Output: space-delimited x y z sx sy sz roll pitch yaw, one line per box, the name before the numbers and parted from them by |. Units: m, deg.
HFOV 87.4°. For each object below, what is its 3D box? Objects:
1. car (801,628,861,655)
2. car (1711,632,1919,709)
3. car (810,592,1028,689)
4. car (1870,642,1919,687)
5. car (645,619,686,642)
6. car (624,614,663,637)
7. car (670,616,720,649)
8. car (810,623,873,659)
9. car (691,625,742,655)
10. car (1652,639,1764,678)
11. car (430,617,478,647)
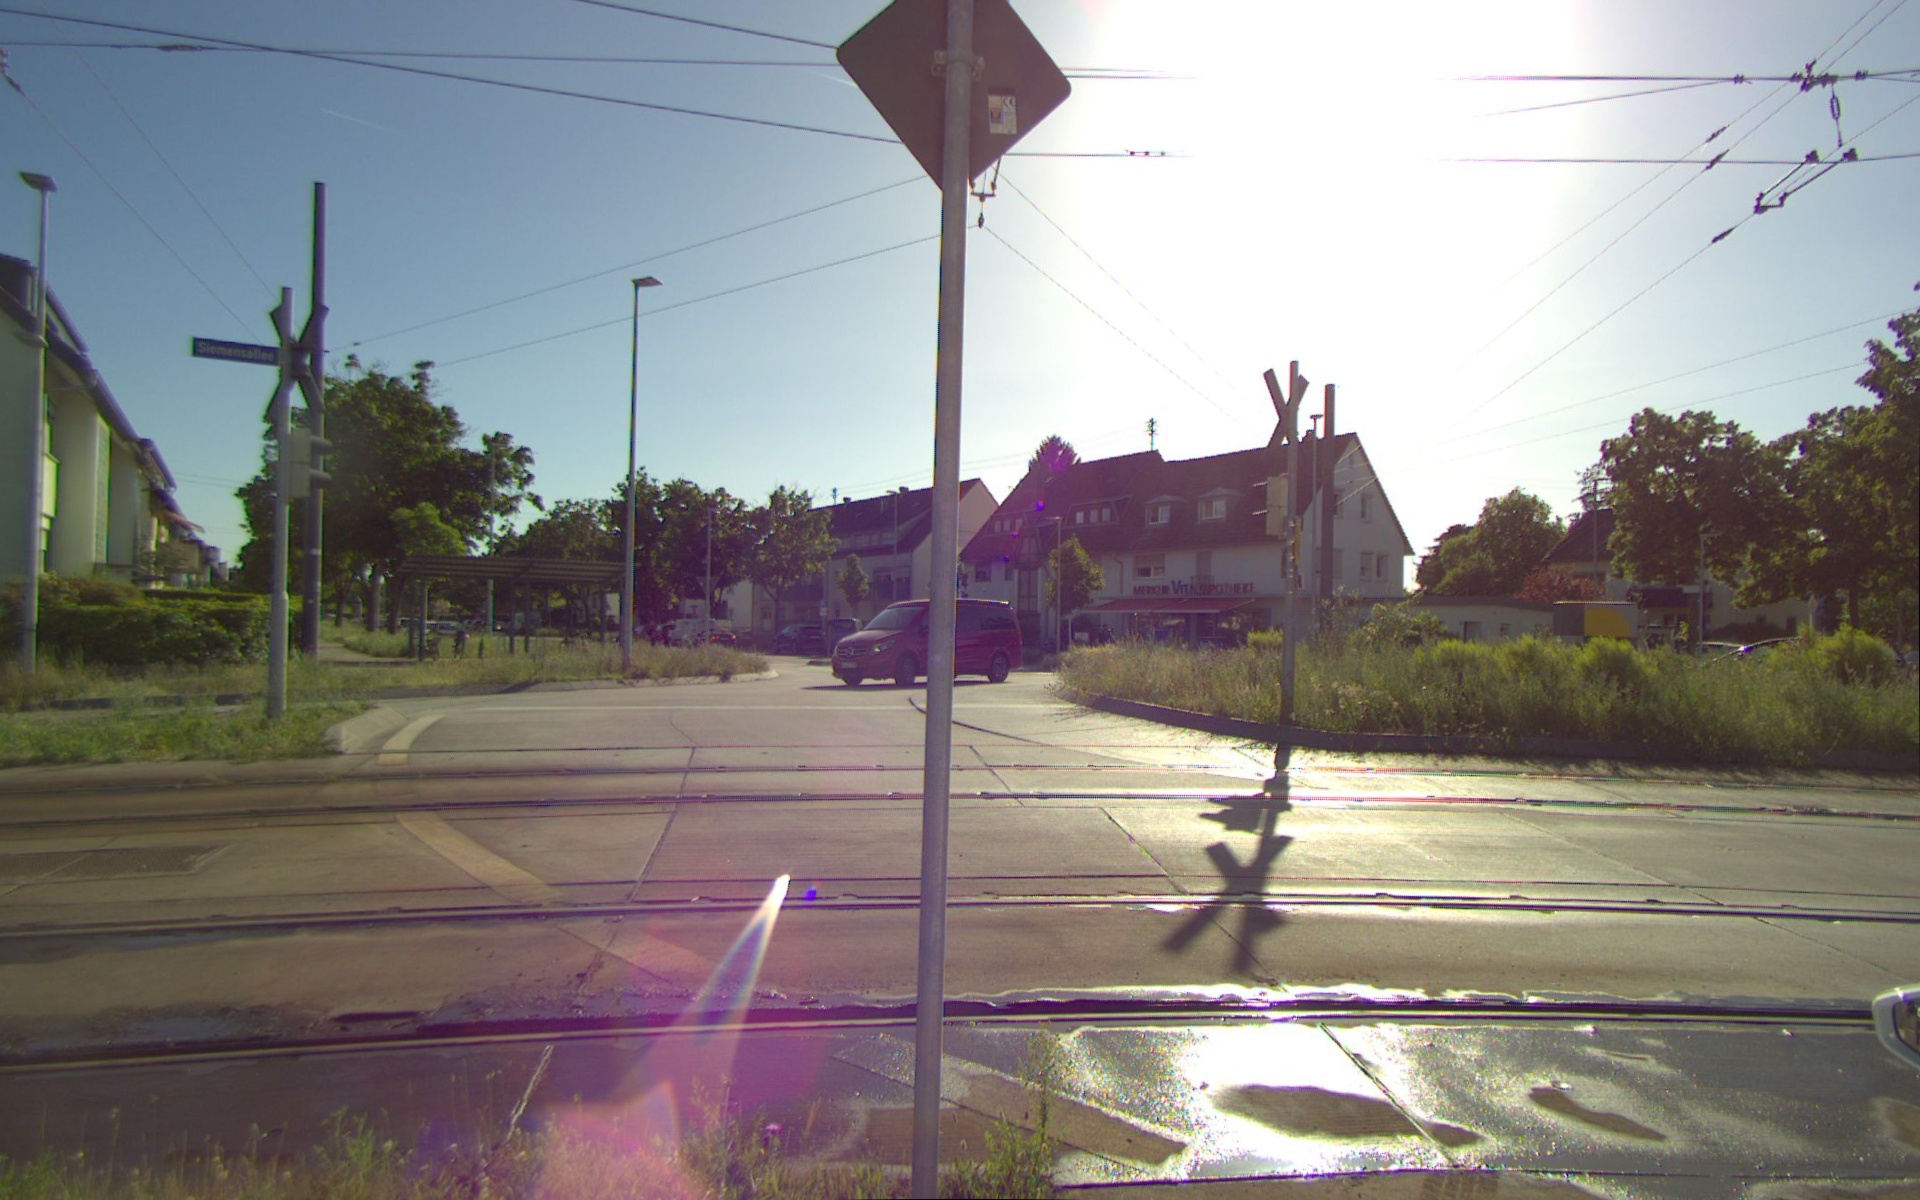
car | -7.023 2.274 54.697 3.107 1.315 1.380 2 0 -11
car | 19.107 1.512 22.660 1.659 1.510 3.917 1 -1 5
car | -0.827 0.891 23.407 1.972 2.008 5.207 0 -1 43
car | 37.436 2.521 38.872 4.383 1.601 1.824 2 0 -27
car | -21.574 2.217 73.494 1.531 1.613 4.034 2 -2 -36
car | -24.419 1.973 77.417 1.537 1.698 4.177 2 -2 -36
car | -18.357 2.211 69.449 1.879 2.041 4.325 2 0 -36
car | -5.926 2.068 50.457 3.020 1.641 1.409 2 0 -6
car | -15.511 2.534 63.813 1.903 1.637 4.247 2 0 -32
car | 37.492 2.907 50.442 1.974 1.717 4.023 2 0 -26
car | -27.671 1.739 54.849 1.809 1.411 3.753 2 0 -35
